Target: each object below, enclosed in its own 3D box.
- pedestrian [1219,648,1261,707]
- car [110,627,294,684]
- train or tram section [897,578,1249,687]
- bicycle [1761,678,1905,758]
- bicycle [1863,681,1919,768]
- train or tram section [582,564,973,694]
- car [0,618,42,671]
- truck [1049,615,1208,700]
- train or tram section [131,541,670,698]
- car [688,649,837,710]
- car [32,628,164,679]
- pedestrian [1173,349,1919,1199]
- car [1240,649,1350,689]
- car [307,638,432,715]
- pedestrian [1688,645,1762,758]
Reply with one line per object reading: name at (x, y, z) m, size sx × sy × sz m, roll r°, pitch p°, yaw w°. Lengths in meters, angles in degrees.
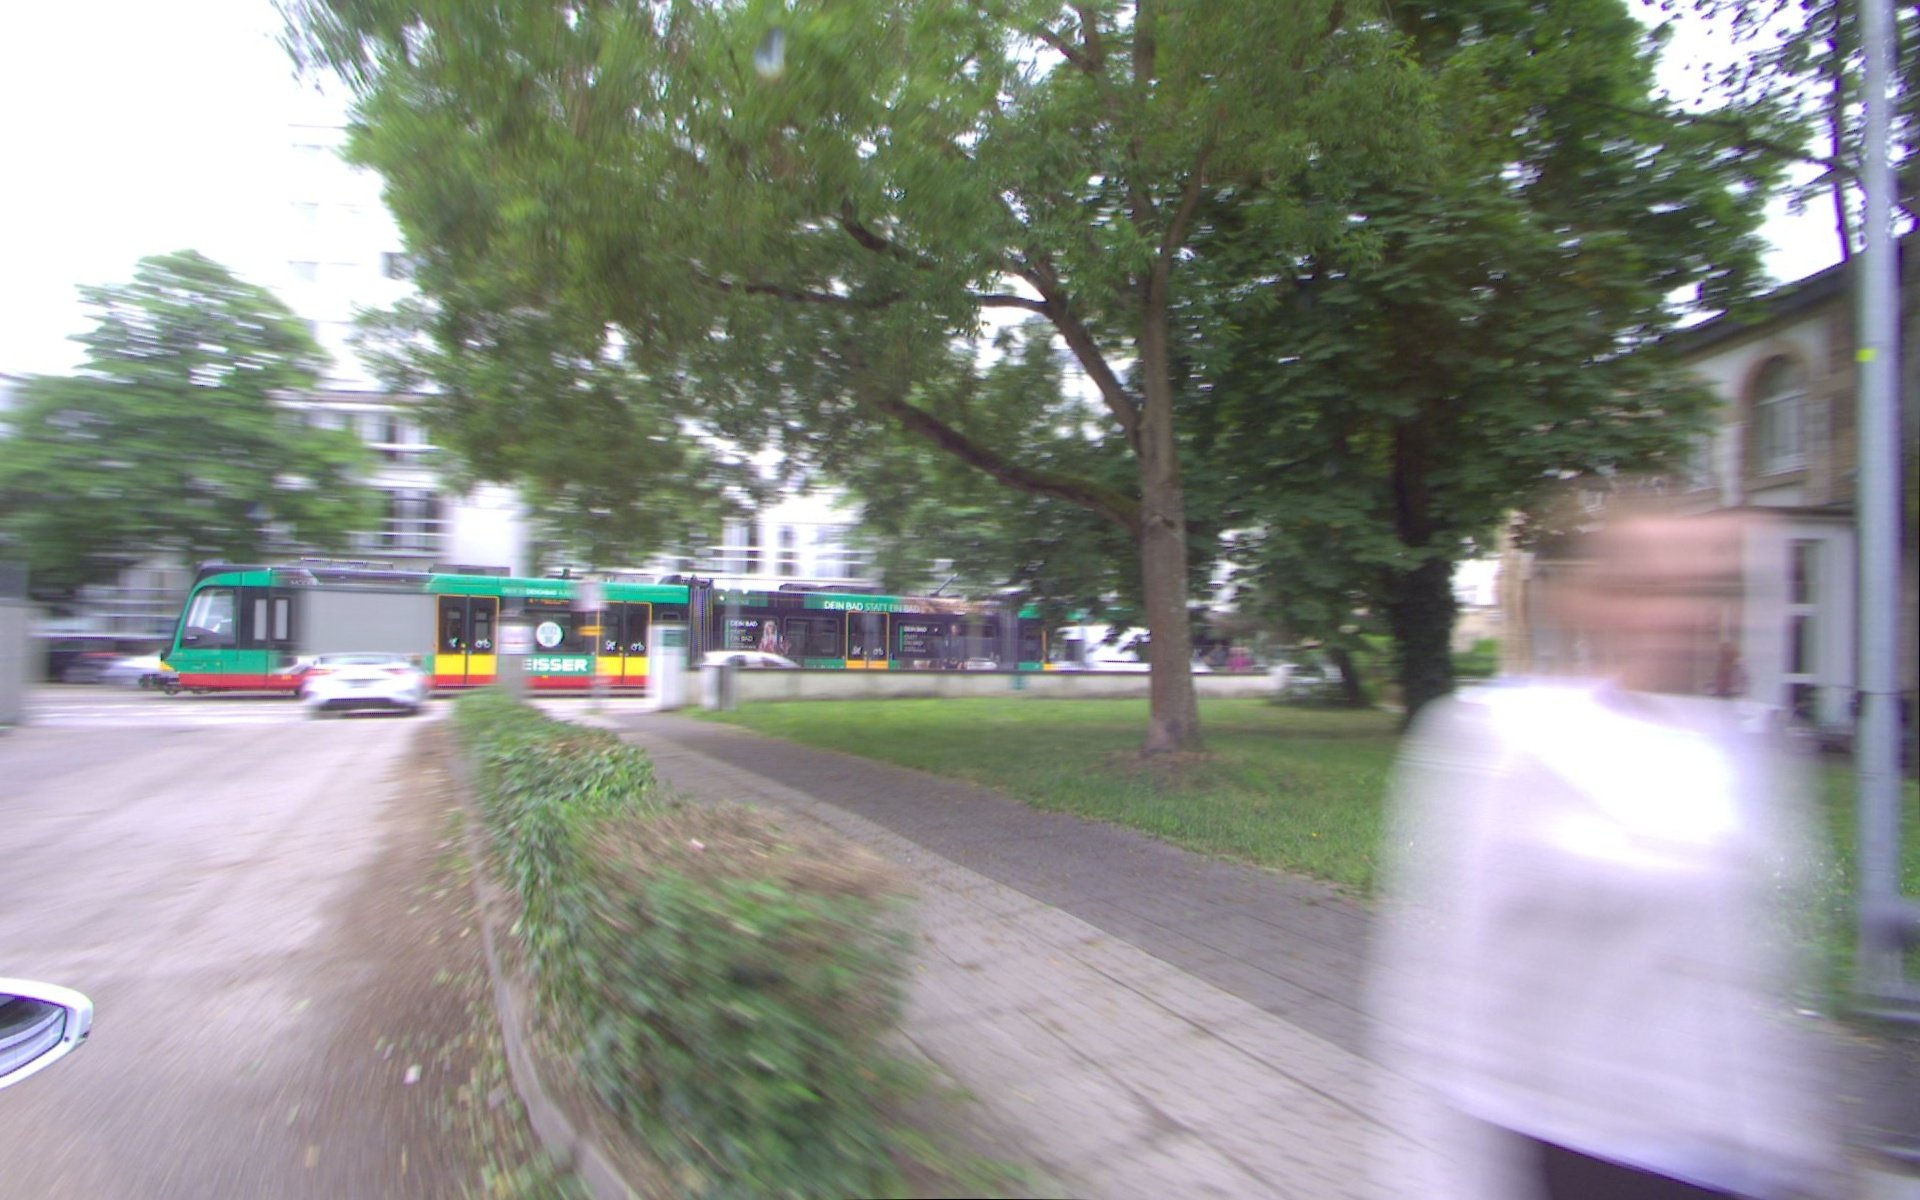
pedestrian at (8.512, 2.346, 30.417) m, size 0.944 × 1.740 × 0.803 m, roll 3°, pitch -2°, yaw -35°
car at (-21.558, 1.588, 28.693) m, size 3.942 × 1.538 × 1.723 m, roll 2°, pitch -3°, yaw -29°
train or tram section at (4.738, 1.403, 38.311) m, size 14.559 × 3.659 × 2.656 m, roll 2°, pitch -2°, yaw -29°
bicycle at (12.950, 1.742, 14.877) m, size 1.710 × 1.129 × 0.461 m, roll 1°, pitch -2°, yaw 1°
bicycle at (13.280, 1.683, 13.536) m, size 1.710 × 1.129 × 0.461 m, roll 1°, pitch -2°, yaw 1°
train or tram section at (-5.567, 1.085, 32.539) m, size 12.279 × 3.659 × 2.656 m, roll 2°, pitch -2°, yaw -29°
car at (-29.733, 1.313, 30.137) m, size 3.276 × 1.556 × 1.618 m, roll 0°, pitch -2°, yaw 17°
truck at (5.506, 1.881, 32.586) m, size 4.857 × 2.578 × 2.160 m, roll 2°, pitch -2°, yaw -29°
train or tram section at (-14.530, 0.715, 27.496) m, size 12.279 × 3.659 × 2.656 m, roll 2°, pitch -2°, yaw -29°
car at (-5.228, 2.097, 26.626) m, size 3.542 × 1.519 × 1.658 m, roll 3°, pitch -3°, yaw -28°
car at (-27.129, 1.679, 31.531) m, size 3.276 × 1.530 × 1.618 m, roll 0°, pitch -2°, yaw 17°
pedestrian at (0.711, 0.740, 1.162) m, size 0.655 × 1.804 × 0.746 m, roll -1°, pitch -2°, yaw 38°
car at (12.111, 2.486, 36.156) m, size 3.760 × 1.371 × 1.802 m, roll 3°, pitch -3°, yaw -32°
car at (-12.328, 1.624, 21.136) m, size 1.753 × 1.449 × 3.970 m, roll 1°, pitch -5°, yaw -23°
pedestrian at (11.200, 1.468, 14.673) m, size 0.592 × 1.607 × 0.628 m, roll 1°, pitch -2°, yaw -2°
